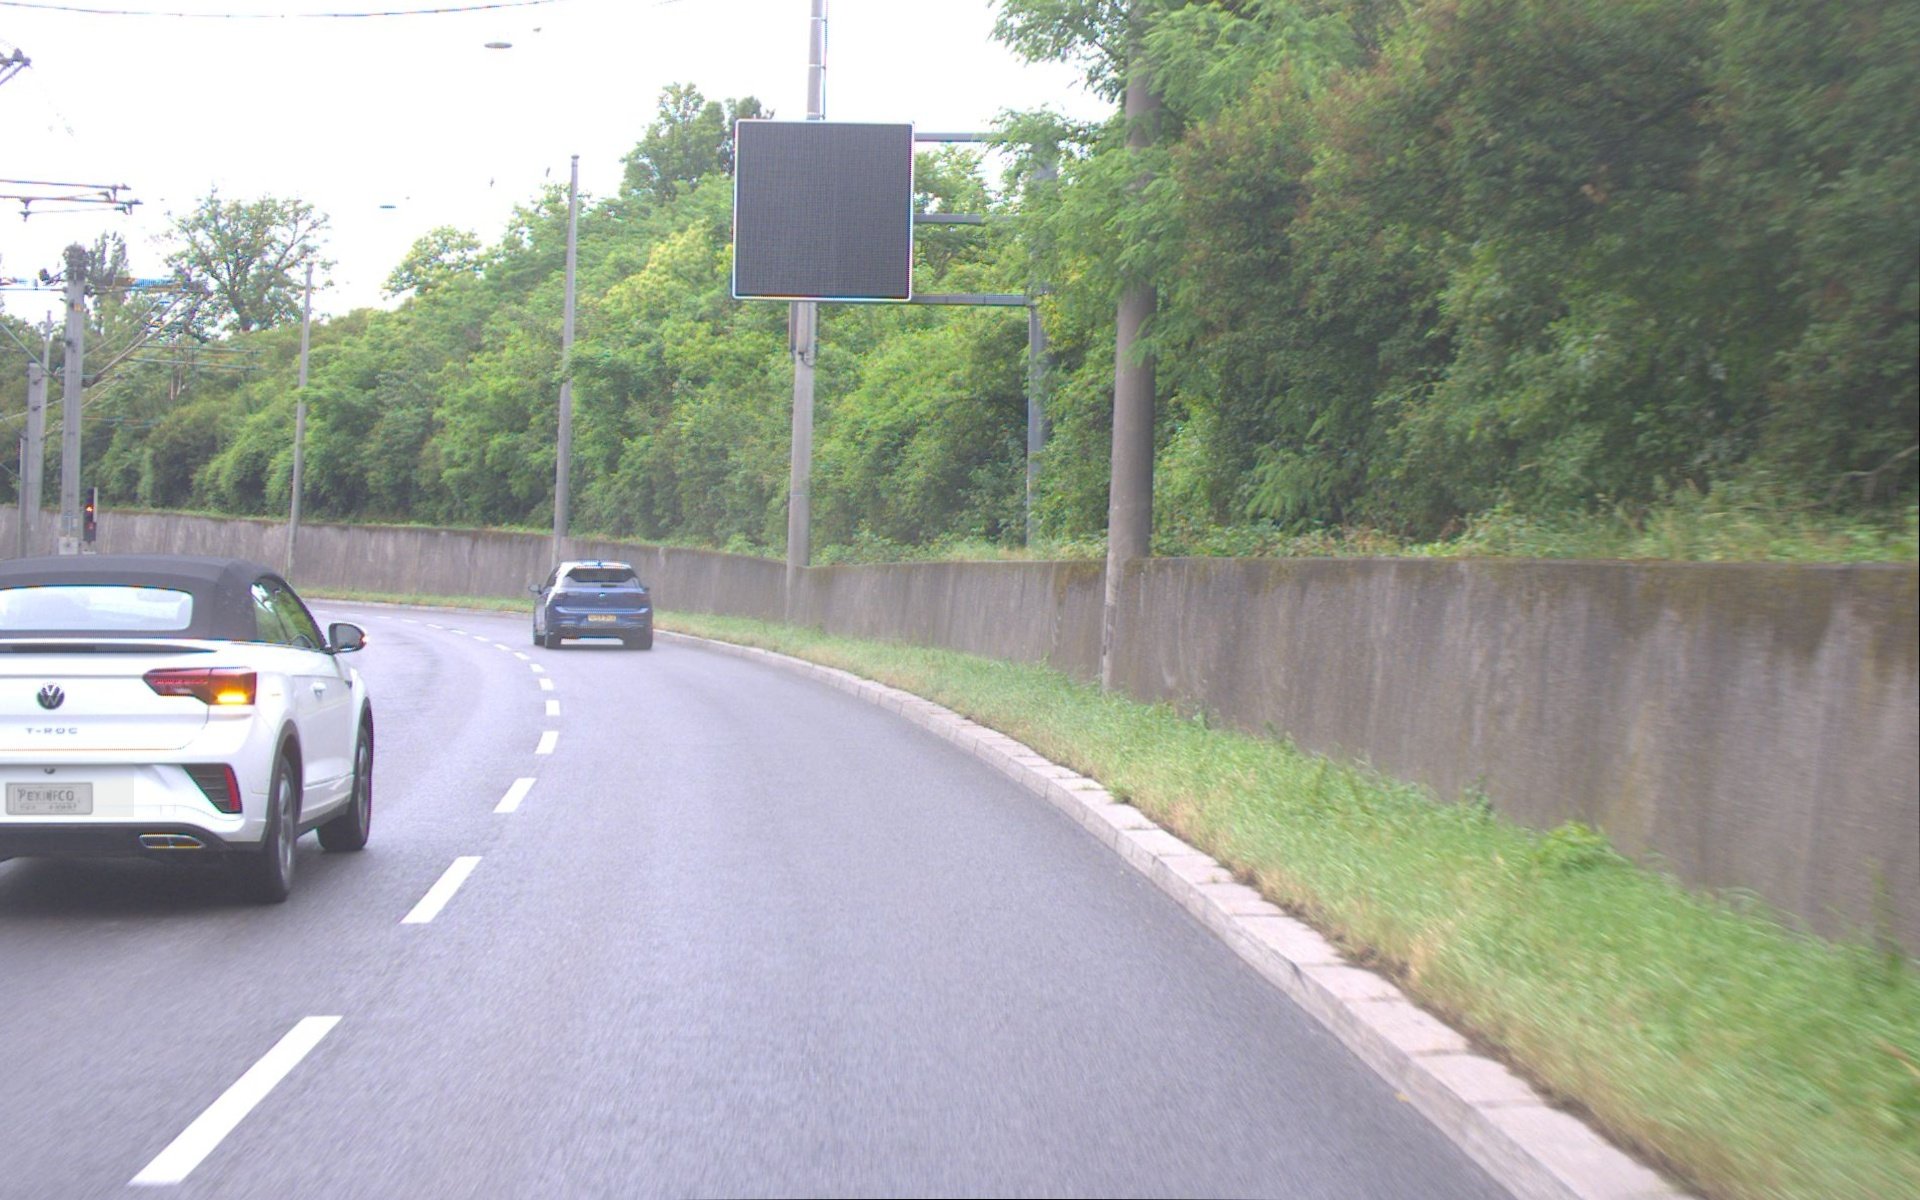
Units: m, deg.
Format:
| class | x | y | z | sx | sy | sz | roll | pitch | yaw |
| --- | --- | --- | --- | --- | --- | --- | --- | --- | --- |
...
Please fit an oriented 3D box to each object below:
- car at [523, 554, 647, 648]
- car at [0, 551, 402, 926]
| class | x | y | z | sx | sy | sz | roll | pitch | yaw |
| --- | --- | --- | --- | --- | --- | --- | --- | --- | --- |
| car | -6.323 | -0.006 | 57.686 | 1.763 | 1.496 | 4.001 | 1 | 1 | -10 |
| car | -3.872 | 0.538 | 16.406 | 1.871 | 1.519 | 4.541 | 0 | 1 | -3 |
